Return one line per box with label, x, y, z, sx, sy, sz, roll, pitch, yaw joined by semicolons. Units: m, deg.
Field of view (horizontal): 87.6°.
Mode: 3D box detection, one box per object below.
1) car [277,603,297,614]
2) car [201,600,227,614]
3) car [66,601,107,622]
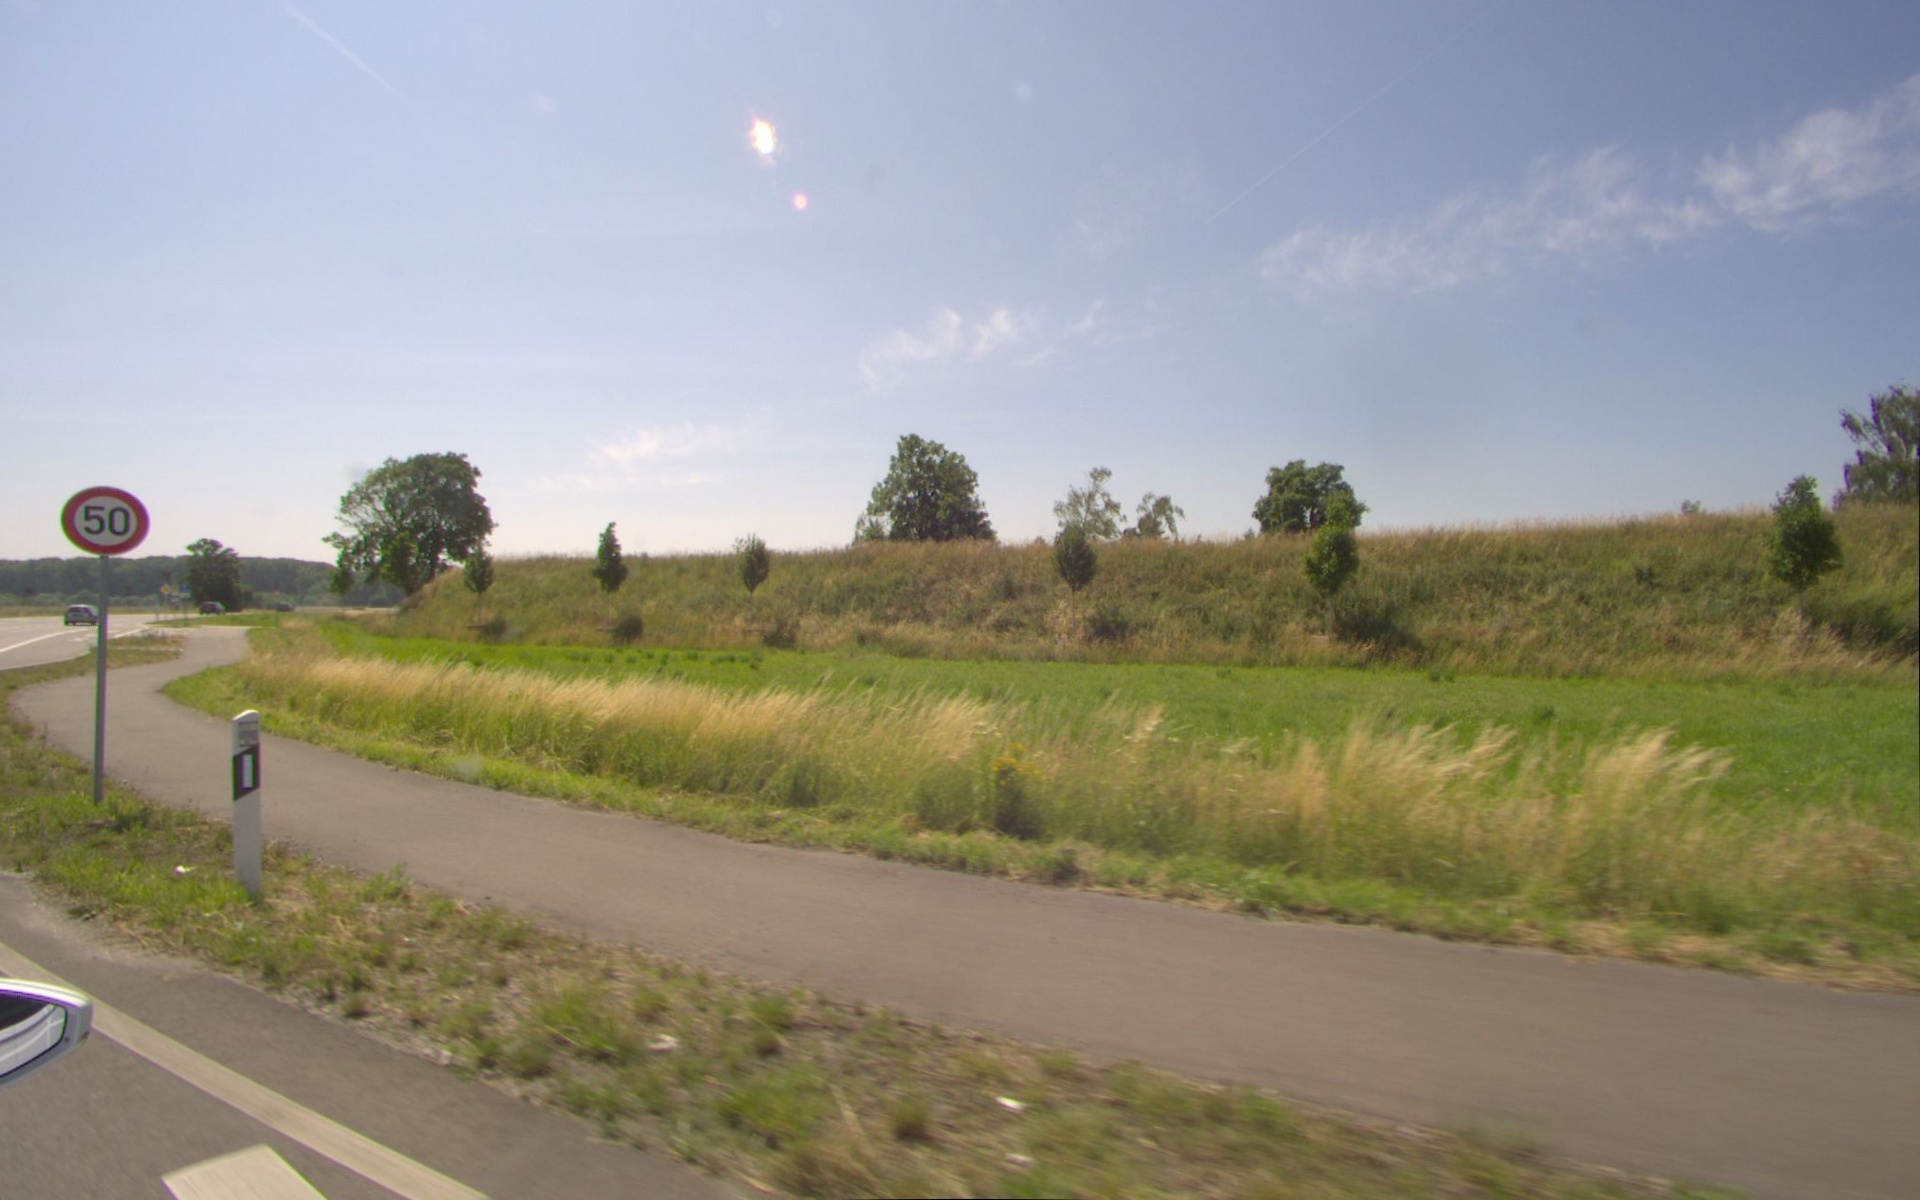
car;-103.506;1.248;154.028;1.776;1.542;3.870;-3;1;-23
car;-85.765;0.769;115.123;1.779;1.495;4.395;-1;-1;-28
car;-63.654;0.860;73.020;1.783;1.447;4.064;2;-2;-35
